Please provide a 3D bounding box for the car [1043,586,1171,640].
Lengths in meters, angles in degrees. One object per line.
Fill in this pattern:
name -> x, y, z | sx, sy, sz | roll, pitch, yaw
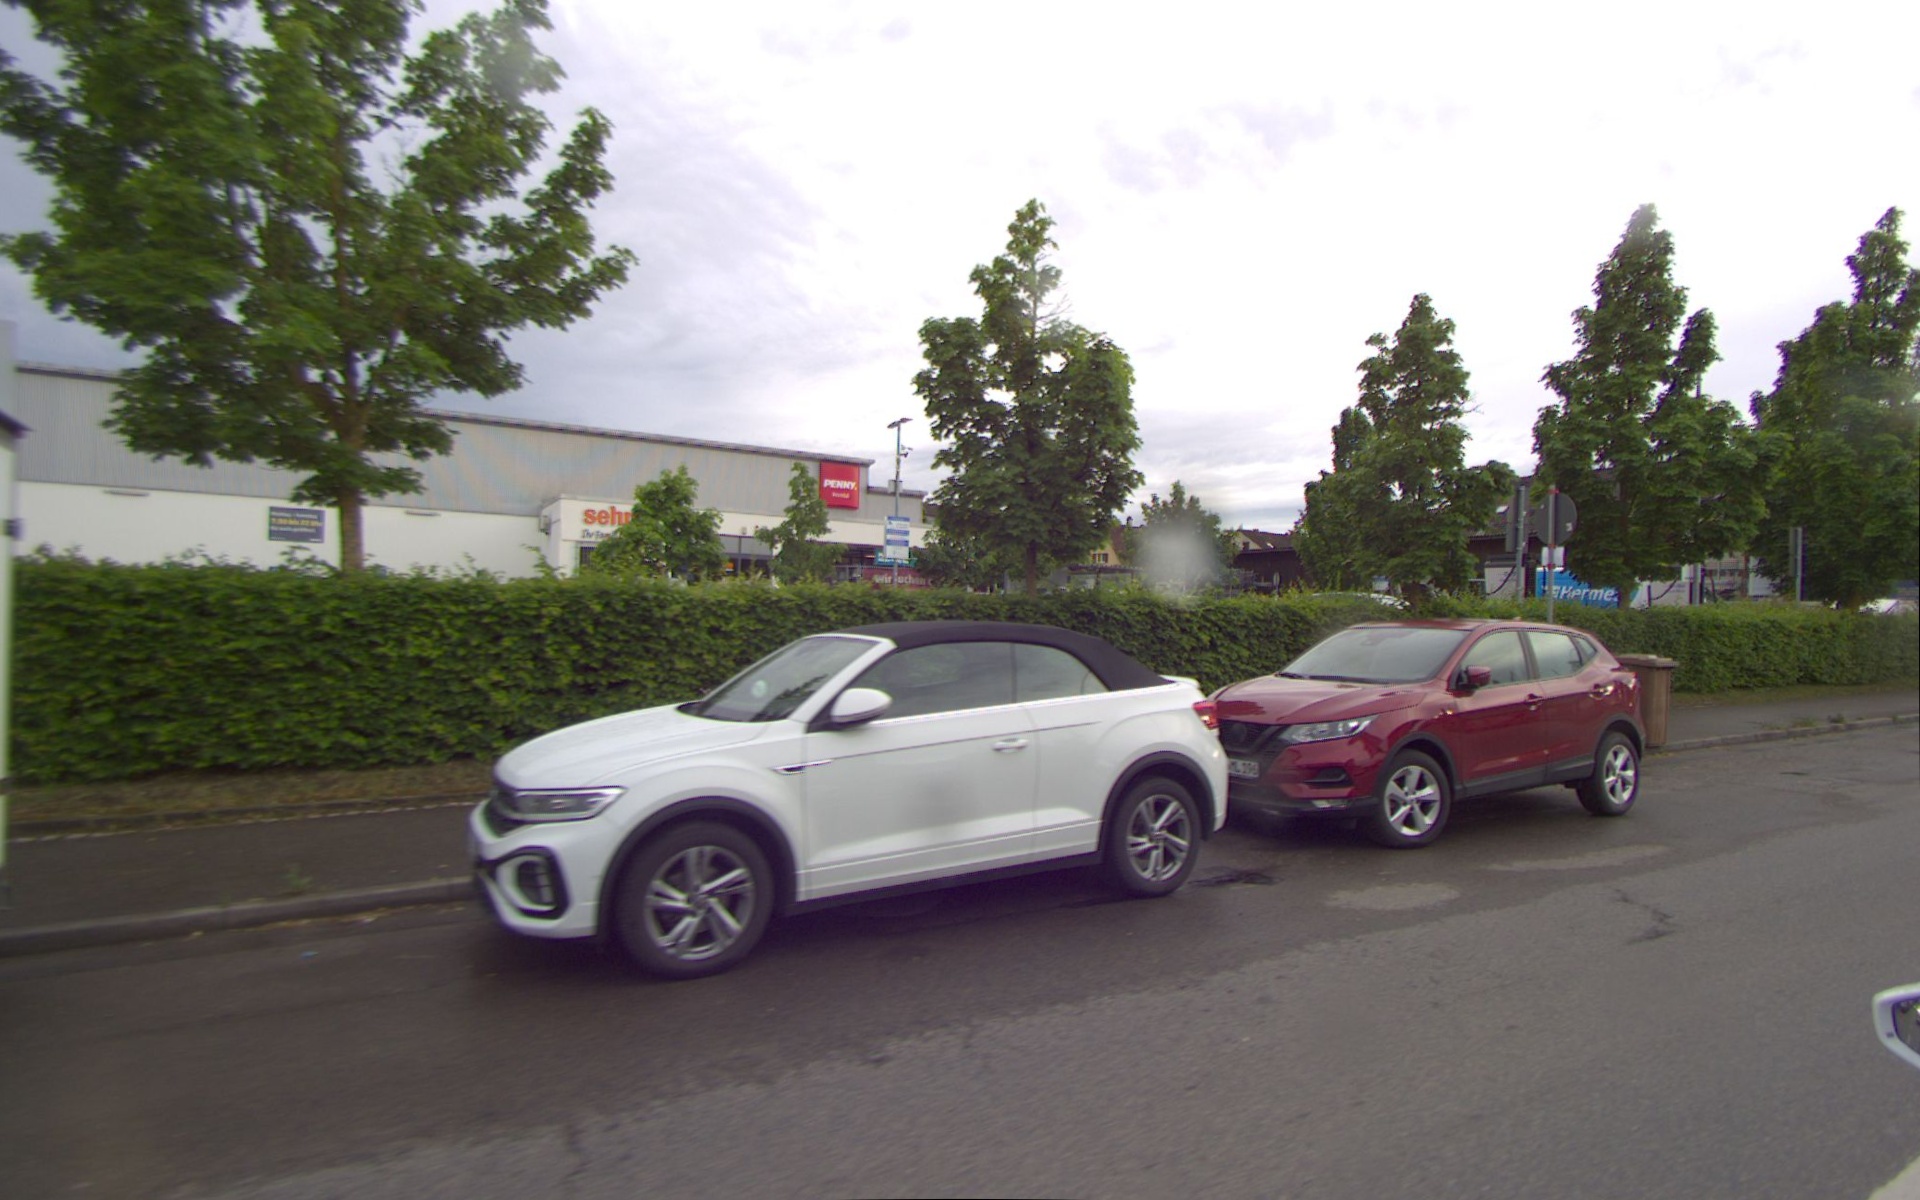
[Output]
car -> 4.439, 0.358, 30.764 | 1.677, 1.540, 3.864 | 1, 0, -34

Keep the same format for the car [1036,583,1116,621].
car -> 7.147, 0.085, 62.575 | 1.956, 2.269, 5.190 | 1, 0, -35

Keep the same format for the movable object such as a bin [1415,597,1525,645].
movable object such as a bin -> 20.387, 0.799, 40.208 | 1.981, 1.783, 3.397 | 1, 0, -36

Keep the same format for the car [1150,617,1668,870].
car -> 3.776, 0.943, 8.254 | 4.293, 1.594, 1.796 | 1, -1, -31

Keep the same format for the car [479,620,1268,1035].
car -> -0.363, 0.899, 5.636 | 4.089, 1.519, 1.763 | 0, 0, -32

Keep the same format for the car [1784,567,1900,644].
car -> 36.932, 0.248, 42.030 | 5.181, 3.054, 2.065 | 1, 0, -30

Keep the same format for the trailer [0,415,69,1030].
trailer -> -5.662, 0.450, 2.623 | 4.676, 2.344, 1.804 | 1, -3, -32

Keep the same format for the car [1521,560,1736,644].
car -> 17.653, 0.039, 26.736 | 2.038, 2.040, 4.286 | 1, 0, -30

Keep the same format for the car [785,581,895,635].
car -> -3.922, 0.219, 32.400 | 1.756, 1.628, 3.957 | 1, 0, -37

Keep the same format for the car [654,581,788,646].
car -> -5.759, 0.285, 23.881 | 1.785, 1.406, 3.951 | 1, 0, -34

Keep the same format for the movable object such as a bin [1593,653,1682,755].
movable object such as a bin -> 8.326, 1.251, 12.352 | 0.613, 1.173, 0.670 | 1, 0, -26

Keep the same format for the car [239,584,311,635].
car -> -22.902, 0.289, 33.702 | 1.640, 1.628, 3.709 | 1, 0, -29

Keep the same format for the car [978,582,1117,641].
car -> 2.459, 0.291, 29.033 | 1.867, 1.572, 4.028 | 1, 0, -34

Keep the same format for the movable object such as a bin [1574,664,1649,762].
movable object such as a bin -> 7.737, 1.322, 11.937 | 0.612, 1.096, 0.489 | 1, 0, -26
